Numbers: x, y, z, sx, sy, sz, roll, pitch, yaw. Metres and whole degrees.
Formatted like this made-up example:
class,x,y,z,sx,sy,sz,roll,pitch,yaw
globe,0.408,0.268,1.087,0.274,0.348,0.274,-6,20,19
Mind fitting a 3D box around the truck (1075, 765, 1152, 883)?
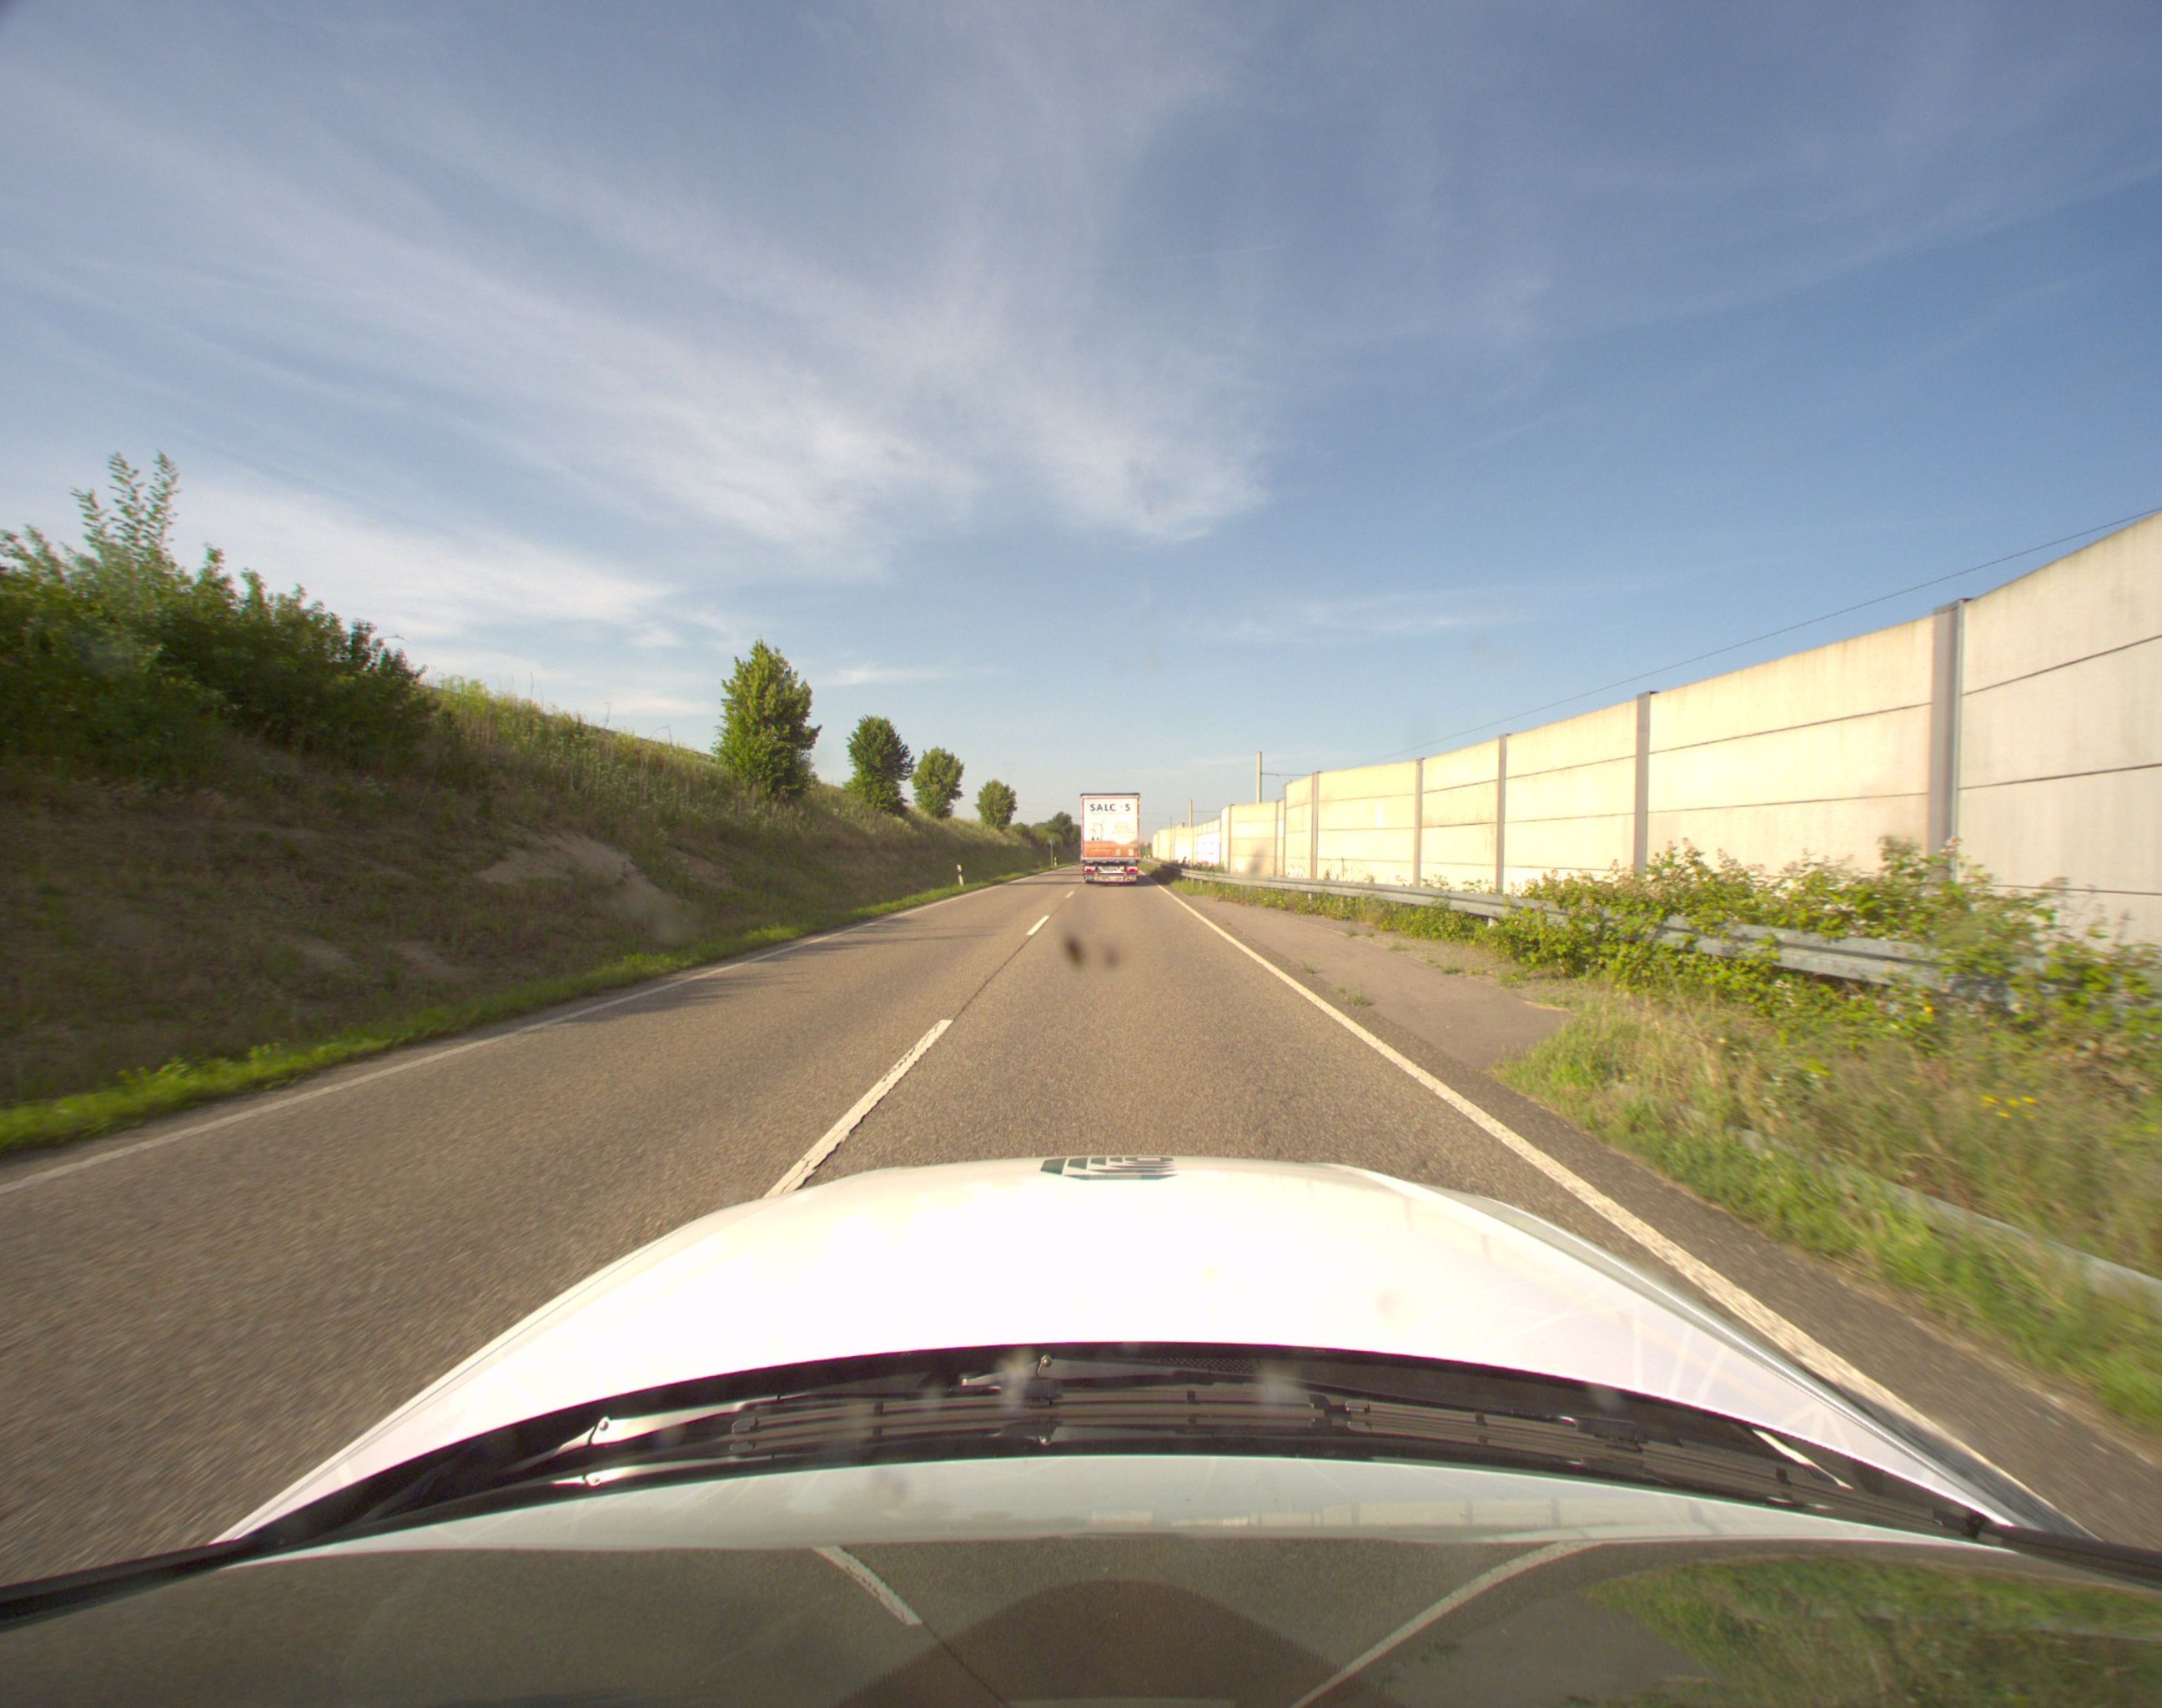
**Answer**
class,x,y,z,sx,sy,sz,roll,pitch,yaw
truck,1.560,-1.323,41.173,3.278,5.090,12.041,0,0,1
